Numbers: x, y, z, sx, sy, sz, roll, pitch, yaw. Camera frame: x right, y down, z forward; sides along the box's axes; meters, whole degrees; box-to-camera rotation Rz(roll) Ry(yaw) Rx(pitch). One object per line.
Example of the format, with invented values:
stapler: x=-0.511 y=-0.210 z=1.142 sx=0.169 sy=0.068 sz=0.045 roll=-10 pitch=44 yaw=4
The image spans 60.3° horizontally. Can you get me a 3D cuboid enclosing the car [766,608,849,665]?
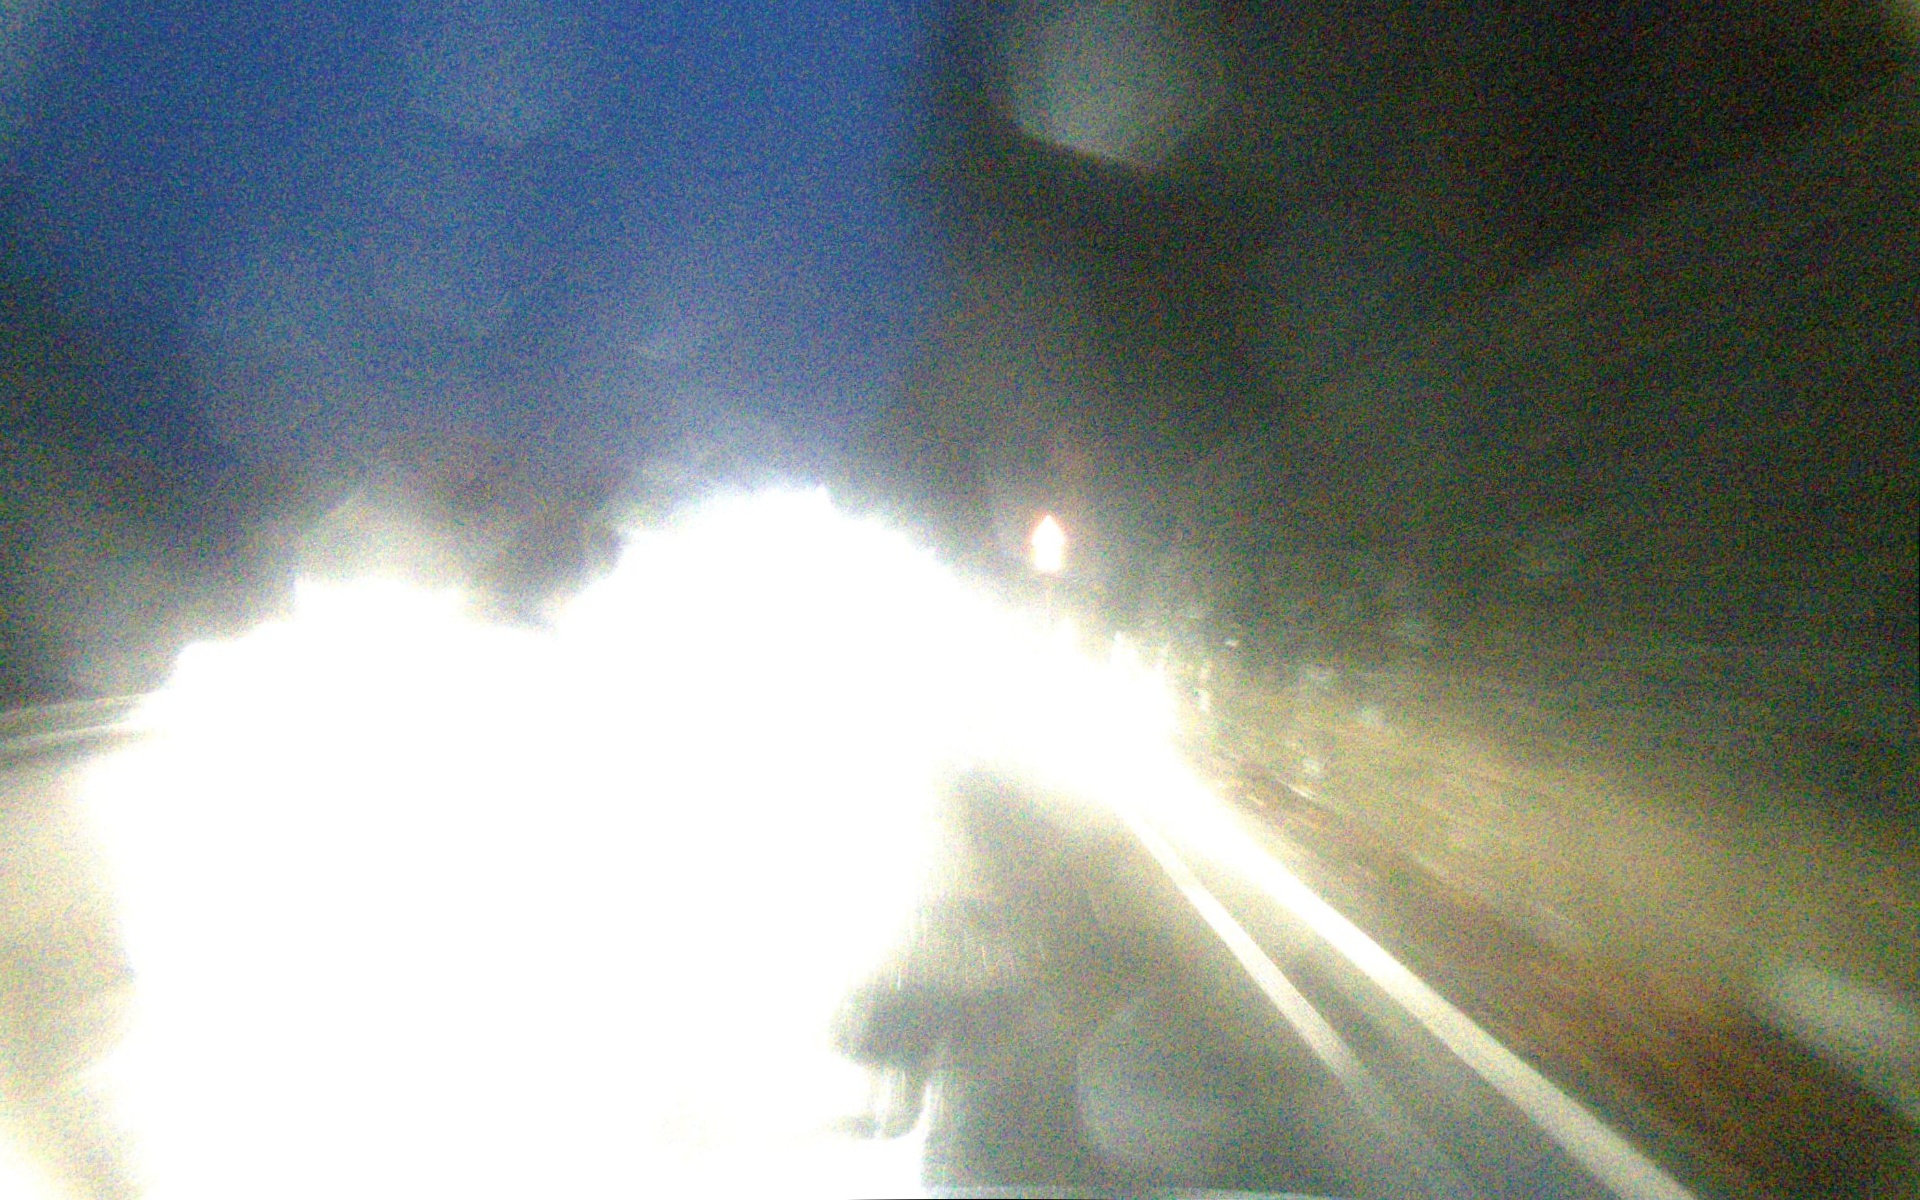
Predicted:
car: x=-4.206 y=1.027 z=46.356 sx=1.953 sy=1.523 sz=4.355 roll=0 pitch=-1 yaw=-1

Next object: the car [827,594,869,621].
car: x=-6.470 y=0.473 z=95.878 sx=1.934 sy=1.487 sz=4.283 roll=0 pitch=-1 yaw=3

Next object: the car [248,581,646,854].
car: x=-3.382 y=0.674 z=11.698 sx=1.681 sy=1.581 sz=3.998 roll=0 pitch=0 yaw=-2
